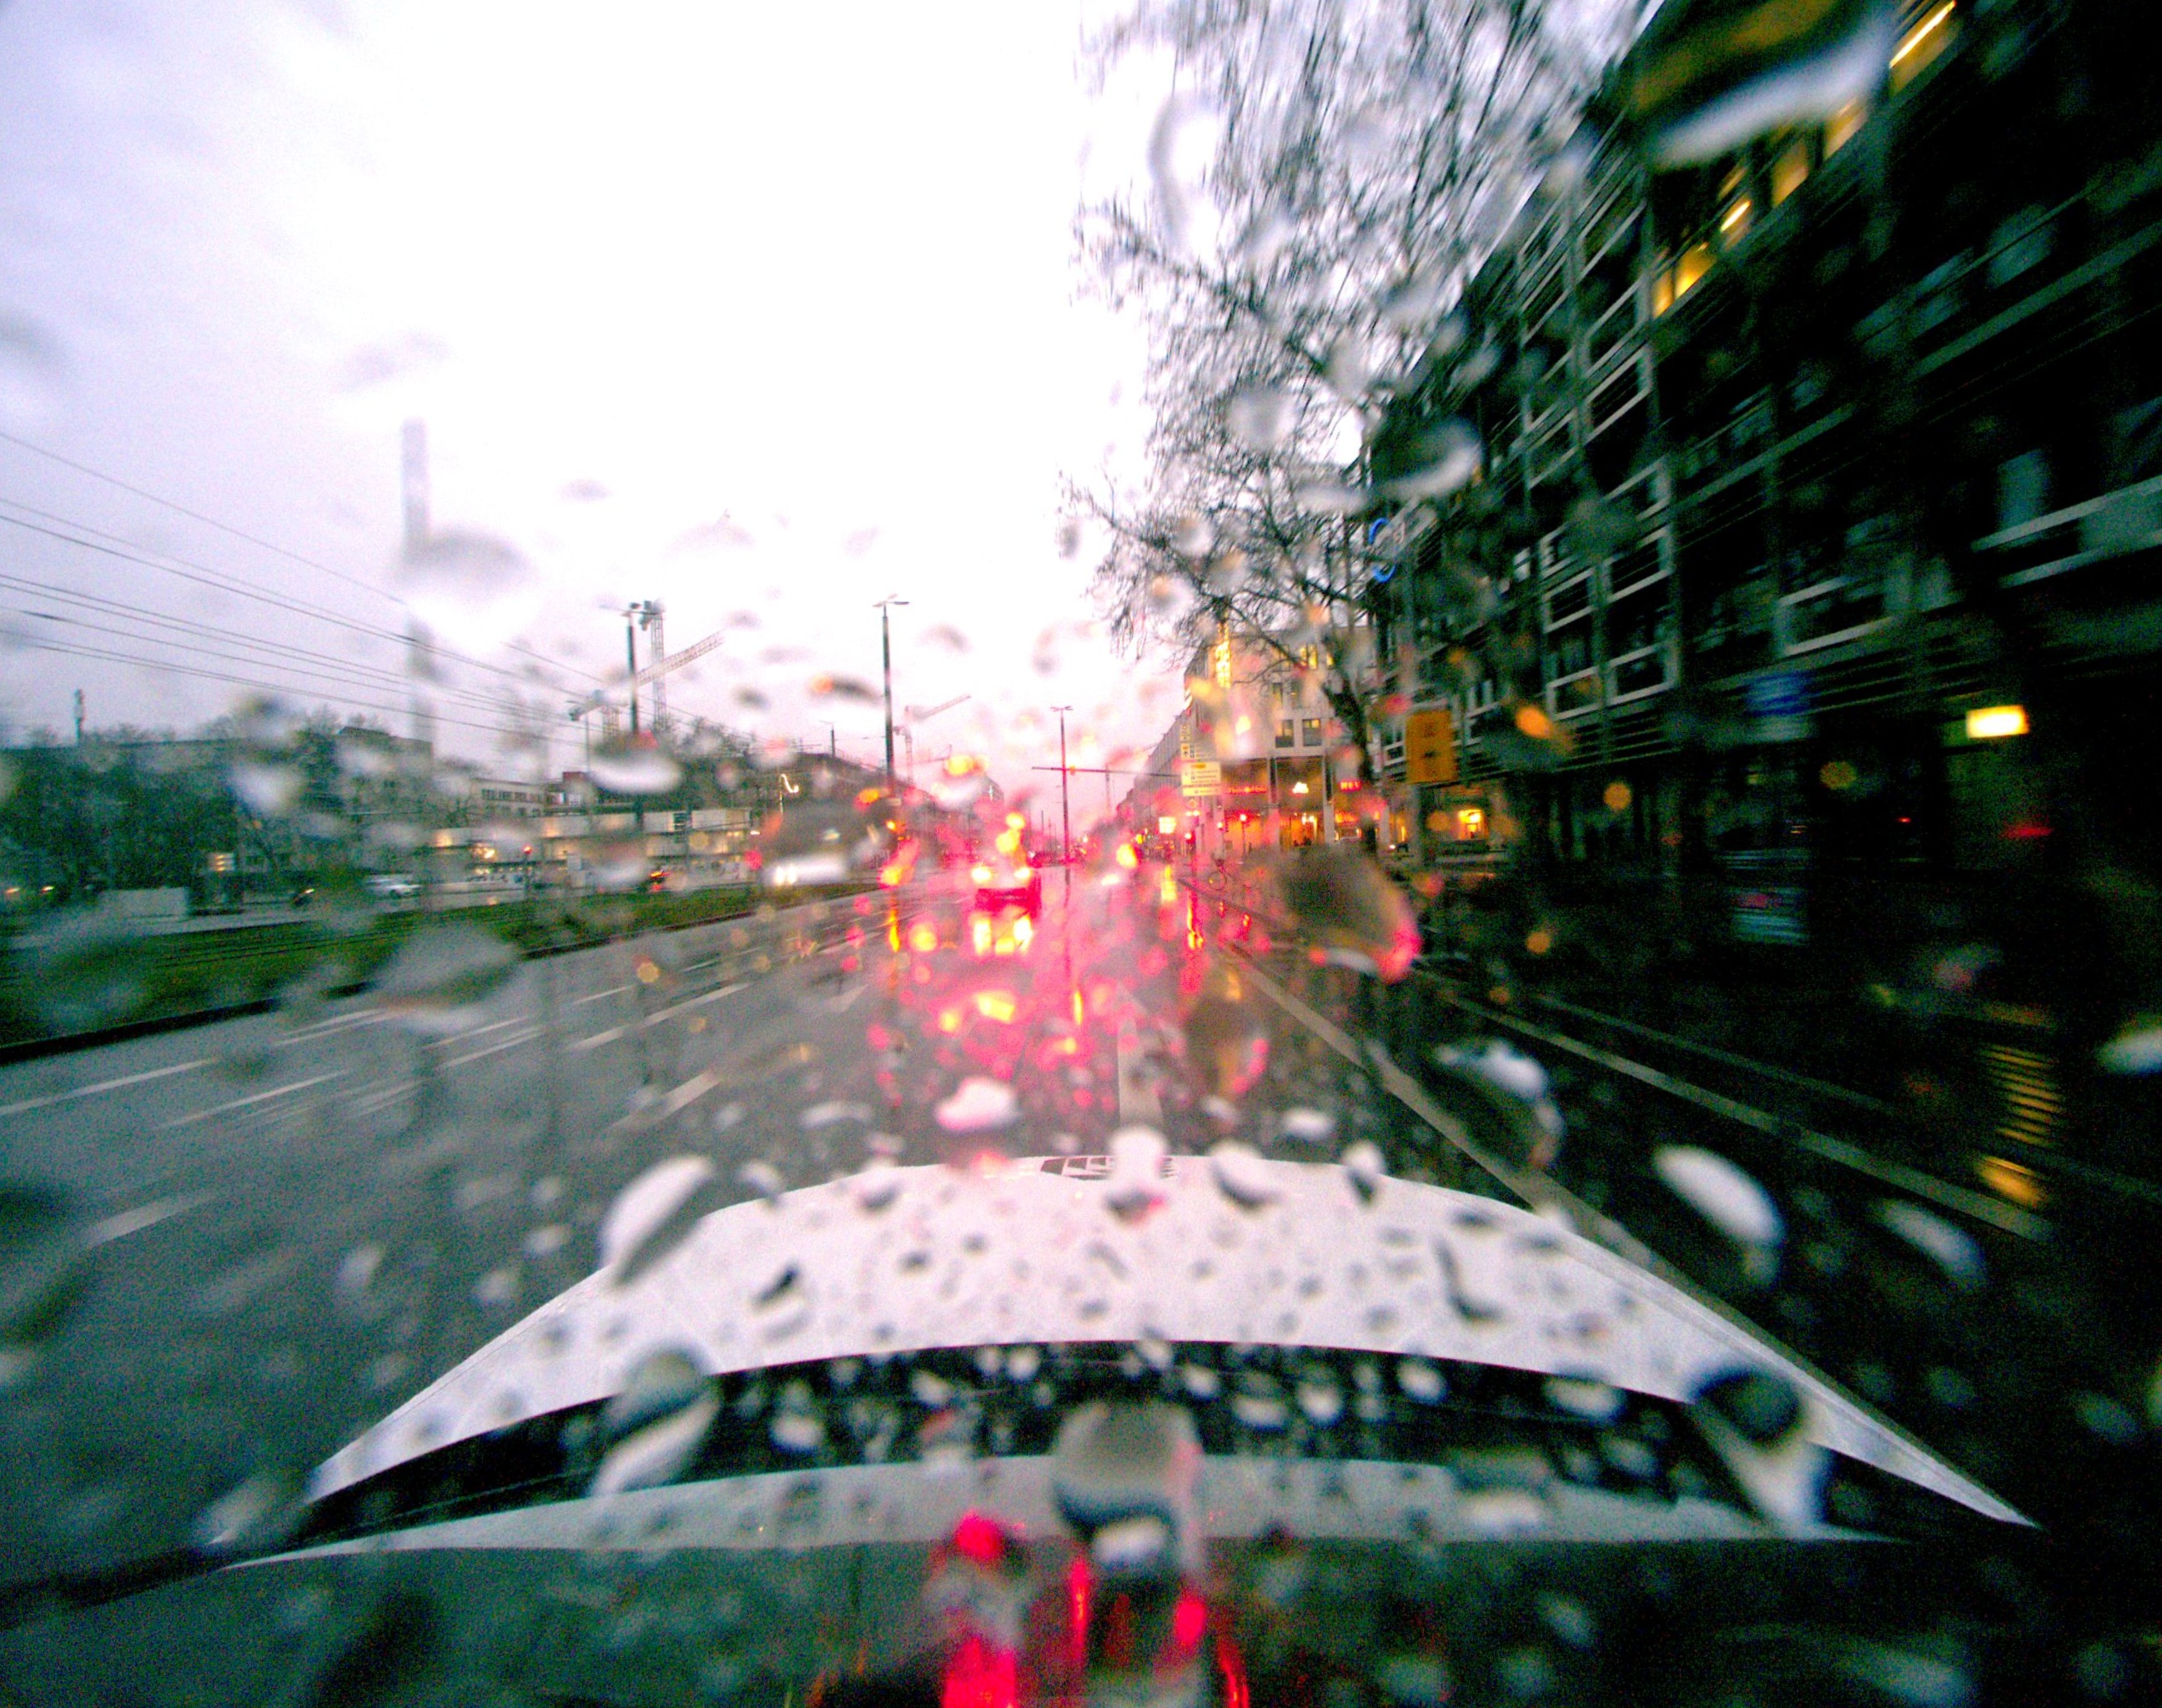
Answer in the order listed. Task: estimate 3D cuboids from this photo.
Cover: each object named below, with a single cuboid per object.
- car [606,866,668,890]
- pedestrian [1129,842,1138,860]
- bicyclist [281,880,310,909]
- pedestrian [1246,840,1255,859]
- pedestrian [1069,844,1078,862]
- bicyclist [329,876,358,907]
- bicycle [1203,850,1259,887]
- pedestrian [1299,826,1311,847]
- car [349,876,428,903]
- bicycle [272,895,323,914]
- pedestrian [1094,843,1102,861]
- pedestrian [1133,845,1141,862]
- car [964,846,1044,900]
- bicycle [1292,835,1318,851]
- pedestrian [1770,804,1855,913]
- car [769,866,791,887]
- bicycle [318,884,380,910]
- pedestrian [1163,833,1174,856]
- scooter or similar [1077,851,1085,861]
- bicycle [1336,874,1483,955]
[{"bbox_3d":[-37.069,2.007,68.033,3.978,1.750,1.998,-2,0,-3],"label":"car"},{"bbox_3d":[4.937,-0.270,76.702,0.703,1.619,0.681,-2,0,4],"label":"pedestrian"},{"bbox_3d":[-48.370,2.473,50.155,1.031,1.697,0.617,-2,0,-4],"label":"bicyclist"},{"bbox_3d":[16.467,-0.412,78.944,0.700,1.760,0.653,-2,0,2],"label":"pedestrian"},{"bbox_3d":[-0.740,-0.089,78.385,0.739,1.667,0.400,-2,0,-4],"label":"pedestrian"},{"bbox_3d":[-44.708,2.268,49.383,0.992,1.839,0.719,-3,0,-7],"label":"bicyclist"},{"bbox_3d":[5.084,0.485,27.679,1.746,1.148,0.435,-4,0,-2],"label":"bicycle"},{"bbox_3d":[17.085,-1.340,62.041,0.774,1.595,0.616,-2,0,18],"label":"pedestrian"},{"bbox_3d":[-50.318,2.570,59.231,3.975,1.684,2.000,-3,0,-1],"label":"car"},{"bbox_3d":[-48.245,3.110,50.155,2.368,1.033,0.617,-3,0,-4],"label":"bicycle"},{"bbox_3d":[1.667,-0.192,78.526,0.699,1.760,0.668,-2,0,2],"label":"pedestrian"},{"bbox_3d":[5.152,-0.049,75.091,0.704,1.619,0.613,-2,0,0],"label":"pedestrian"},{"bbox_3d":[-2.379,0.538,26.389,1.902,1.520,4.926,-2,0,2],"label":"car"},{"bbox_3d":[17.055,-0.819,62.078,1.830,1.093,0.620,-2,0,17],"label":"bicycle"},{"bbox_3d":[10.730,0.063,11.967,0.645,1.544,0.615,-2,0,3],"label":"pedestrian"},{"bbox_3d":[-32.386,2.389,87.703,1.759,2.013,3.979,-2,0,-16],"label":"car"},{"bbox_3d":[-44.393,2.611,49.402,2.828,1.362,0.719,-3,0,-7],"label":"bicycle"},{"bbox_3d":[8.030,-0.889,75.059,0.691,2.087,0.606,-2,0,-37],"label":"pedestrian"},{"bbox_3d":[0.016,0.199,78.439,0.739,0.993,0.400,-2,0,-4],"label":"scooter or similar"},{"bbox_3d":[4.601,0.832,11.480,1.782,0.974,0.617,-4,0,-2],"label":"bicycle"}]
